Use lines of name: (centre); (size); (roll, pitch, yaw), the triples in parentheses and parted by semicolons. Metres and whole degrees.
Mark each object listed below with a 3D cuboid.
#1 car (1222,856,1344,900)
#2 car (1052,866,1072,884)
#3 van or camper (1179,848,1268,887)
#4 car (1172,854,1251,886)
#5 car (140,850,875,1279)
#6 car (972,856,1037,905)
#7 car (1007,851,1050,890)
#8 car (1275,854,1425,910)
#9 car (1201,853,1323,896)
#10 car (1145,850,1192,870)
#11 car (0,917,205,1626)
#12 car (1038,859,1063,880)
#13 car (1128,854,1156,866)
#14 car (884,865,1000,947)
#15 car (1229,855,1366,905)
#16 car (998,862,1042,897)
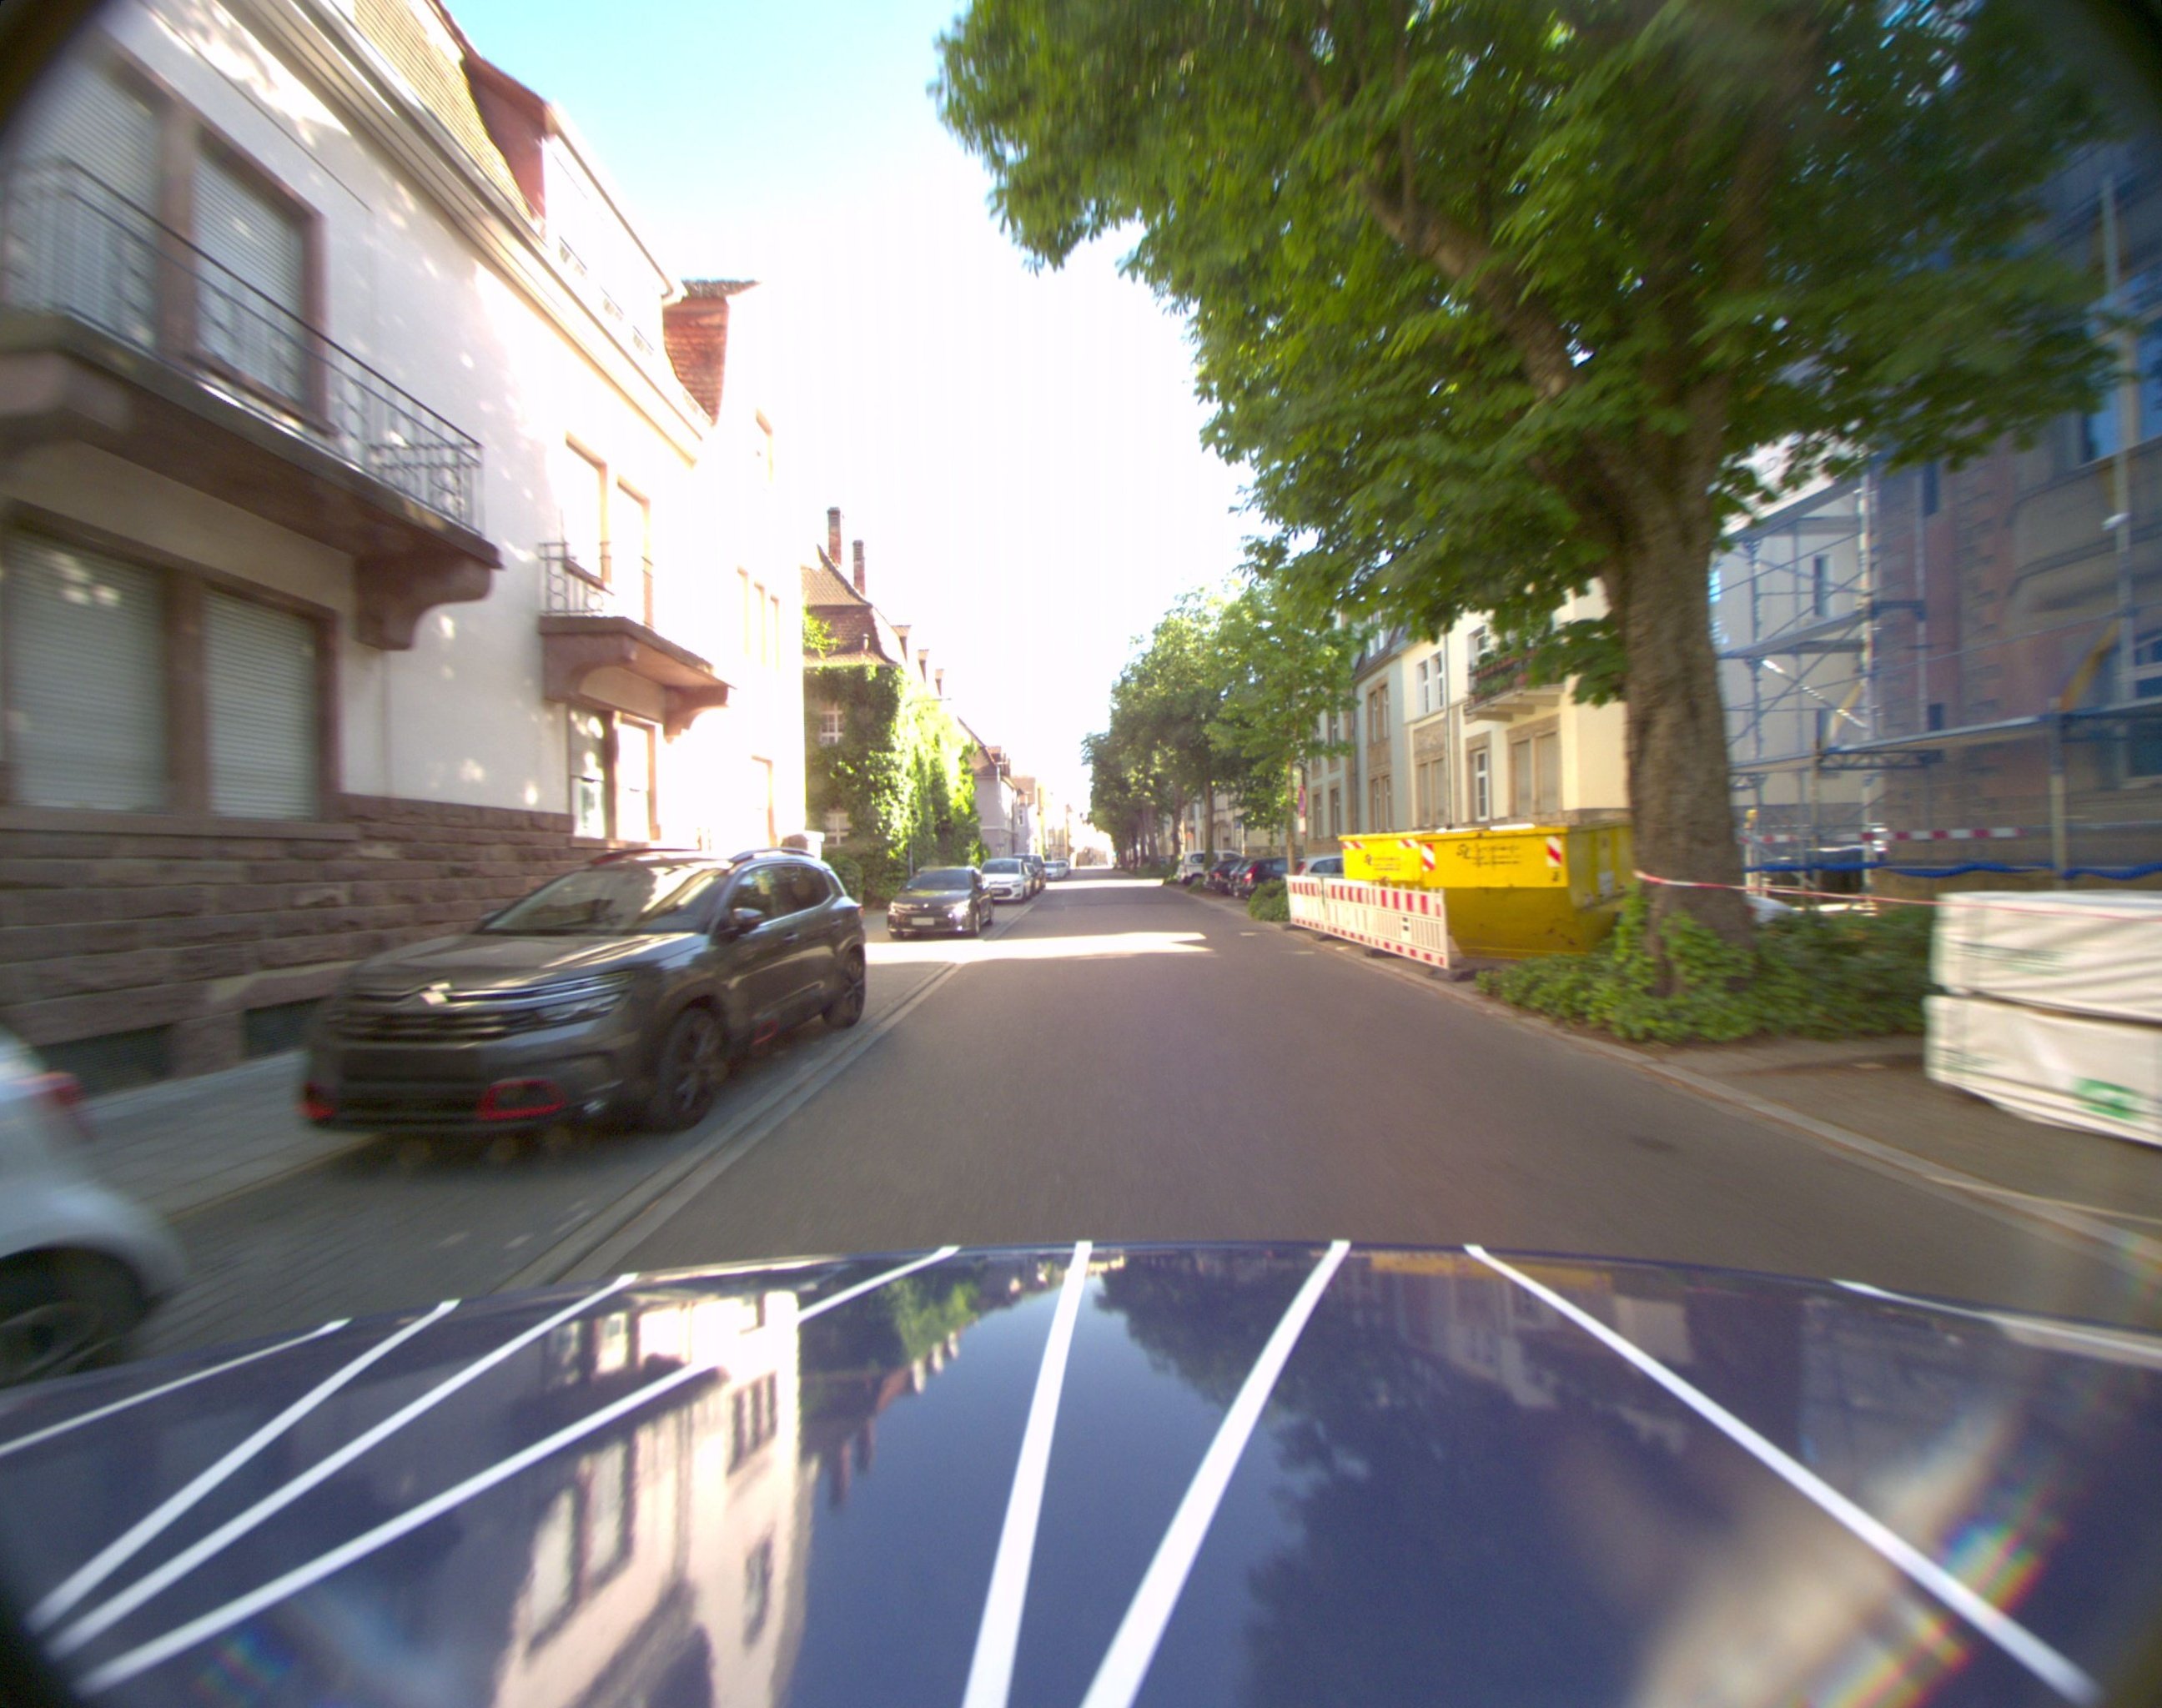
car: (6.902, 0.799, 26.213); (3.757, 1.422, 1.646); (-1, 0, 1)
car: (-1.954, 2.198, 80.943); (1.822, 1.634, 4.161); (-4, 0, 1)
van or camper: (6.931, 0.661, 37.251); (3.954, 1.762, 1.809); (-2, -1, 0)
car: (6.721, 0.816, 39.306); (3.734, 1.507, 1.722); (-2, 0, -1)
car: (-3.033, 0.901, 5.411); (1.782, 1.686, 4.319); (-4, 1, 1)
car: (-2.742, 0.928, 28.104); (1.872, 1.635, 4.199); (-1, 0, 1)
car: (-2.747, 0.823, 40.554); (1.857, 1.898, 4.851); (-1, 0, 1)
car: (7.376, 0.753, 21.051); (3.558, 1.440, 1.695); (-1, 0, 1)
car: (6.728, 0.762, 28.575); (4.150, 1.392, 1.710); (-2, 0, 0)
car: (7.764, 0.518, 67.165); (3.995, 1.424, 1.804); (-3, 1, 8)
car: (-3.254, 1.002, 0.625); (1.629, 1.540, 2.869); (-3, 1, 0)
car: (-2.389, 1.201, 59.905); (1.814, 1.546, 4.106); (-2, 0, 0)
car: (7.867, 0.772, 98.128); (3.496, 1.420, 1.542); (-1, 0, 0)
car: (-2.869, 1.018, 16.656); (1.648, 1.445, 4.502); (-2, 0, 0)
car: (6.613, 0.790, 23.483); (3.735, 1.456, 1.715); (-1, -1, 2)
car: (-2.674, 1.084, 34.092); (1.641, 1.413, 4.008); (-1, 0, 0)
